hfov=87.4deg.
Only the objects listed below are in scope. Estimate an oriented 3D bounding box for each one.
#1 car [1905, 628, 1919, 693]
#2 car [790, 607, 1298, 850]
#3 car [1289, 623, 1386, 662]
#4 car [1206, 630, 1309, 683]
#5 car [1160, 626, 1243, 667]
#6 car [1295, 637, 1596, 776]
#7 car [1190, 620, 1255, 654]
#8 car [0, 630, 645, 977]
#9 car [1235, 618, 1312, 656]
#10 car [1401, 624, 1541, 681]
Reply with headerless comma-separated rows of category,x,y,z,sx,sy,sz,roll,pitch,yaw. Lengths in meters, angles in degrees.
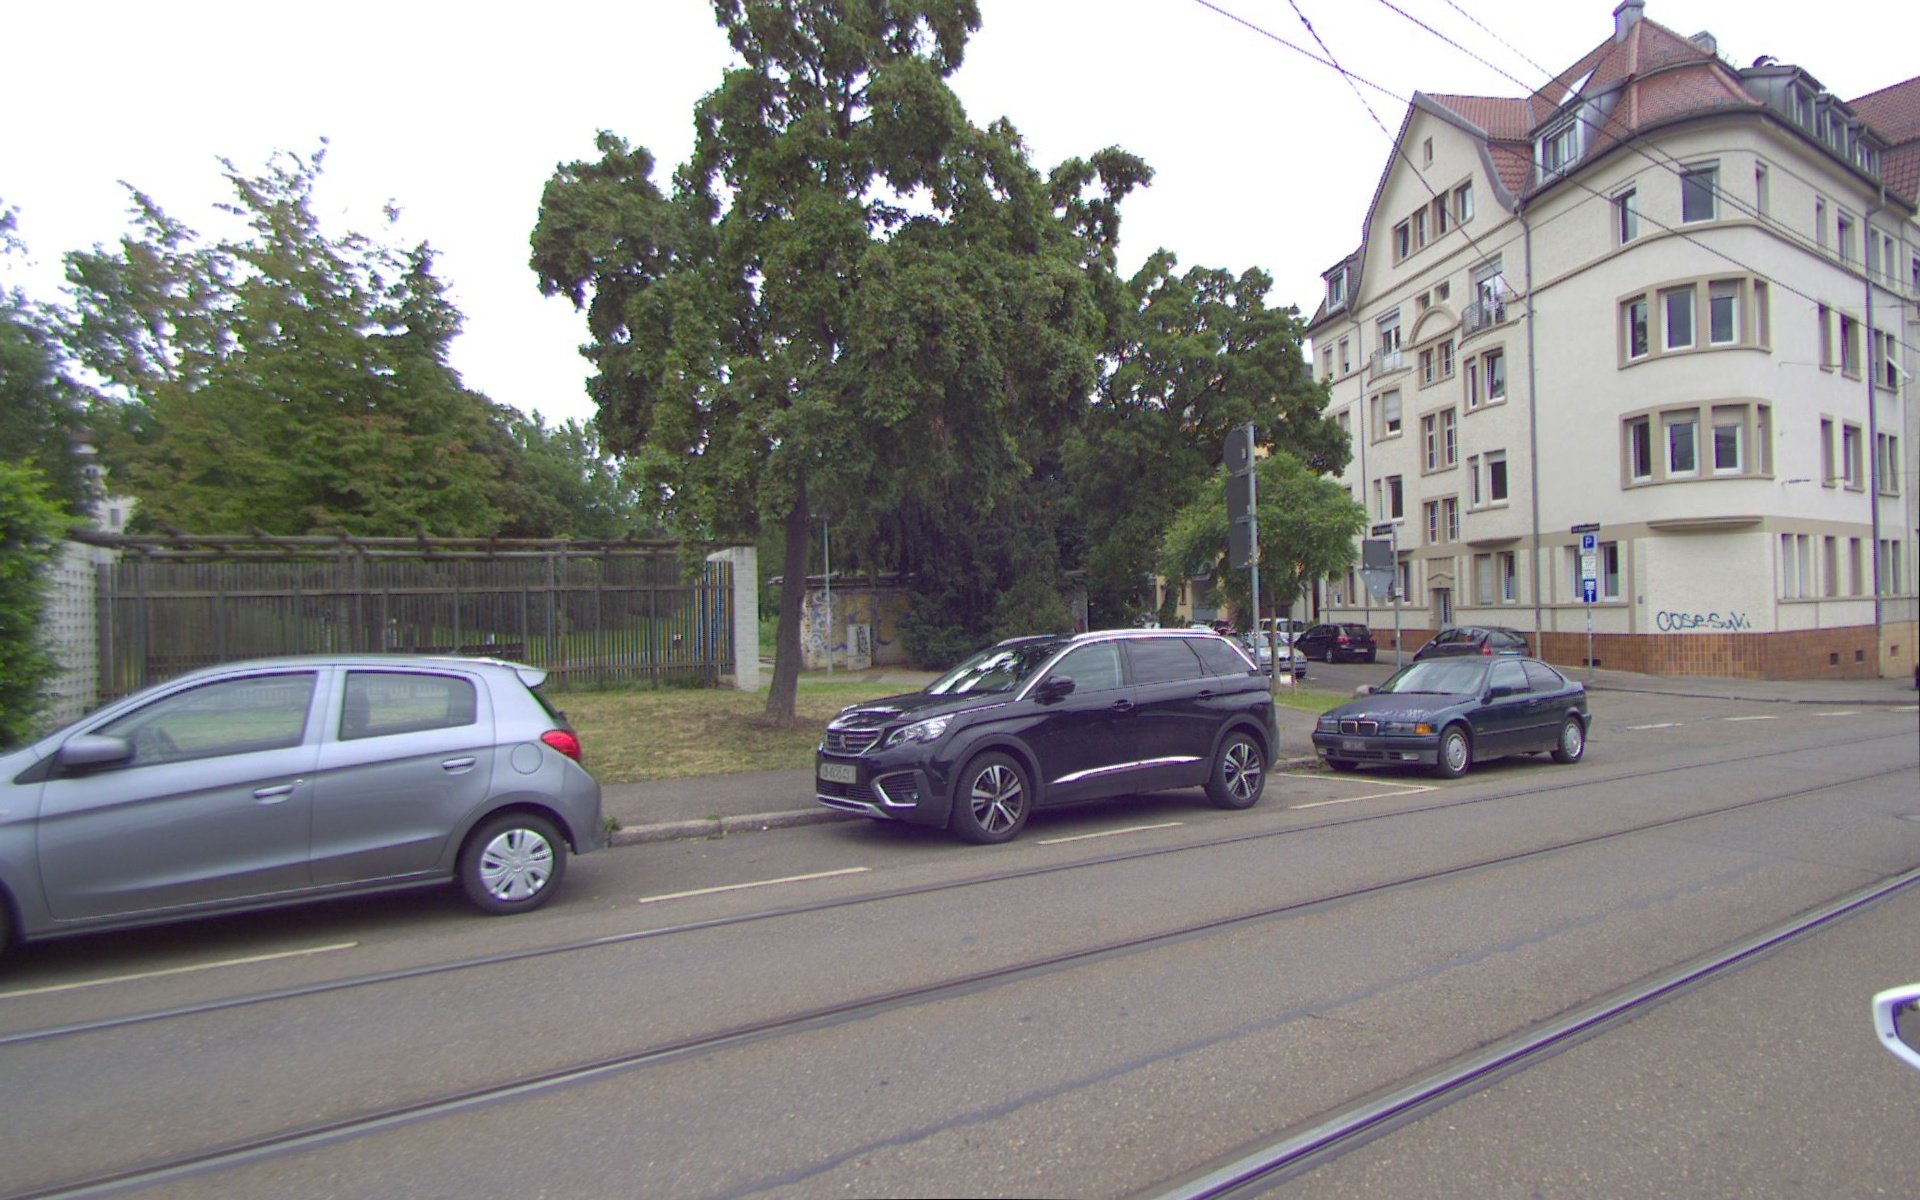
car,26.867,1.625,26.559,4.358,1.667,1.856,3,-4,-35
car,0.887,1.034,9.160,4.400,1.708,1.957,3,-4,-35
car,14.241,1.594,38.163,1.841,1.372,3.996,1,-2,-7
car,9.364,1.741,31.918,1.727,1.459,3.996,0,0,-7
car,8.942,1.721,37.484,1.727,1.438,3.996,1,-2,-7
car,6.192,1.259,12.662,4.115,1.496,1.611,3,-4,-35
car,12.748,1.788,48.949,1.728,1.564,3.996,1,-2,-7
car,-3.970,0.967,5.677,3.831,1.528,1.727,3,-4,-35
car,13.573,1.595,43.710,1.728,1.564,3.996,1,-2,-7
car,15.216,1.544,30.156,1.841,1.592,3.996,1,-2,-7
